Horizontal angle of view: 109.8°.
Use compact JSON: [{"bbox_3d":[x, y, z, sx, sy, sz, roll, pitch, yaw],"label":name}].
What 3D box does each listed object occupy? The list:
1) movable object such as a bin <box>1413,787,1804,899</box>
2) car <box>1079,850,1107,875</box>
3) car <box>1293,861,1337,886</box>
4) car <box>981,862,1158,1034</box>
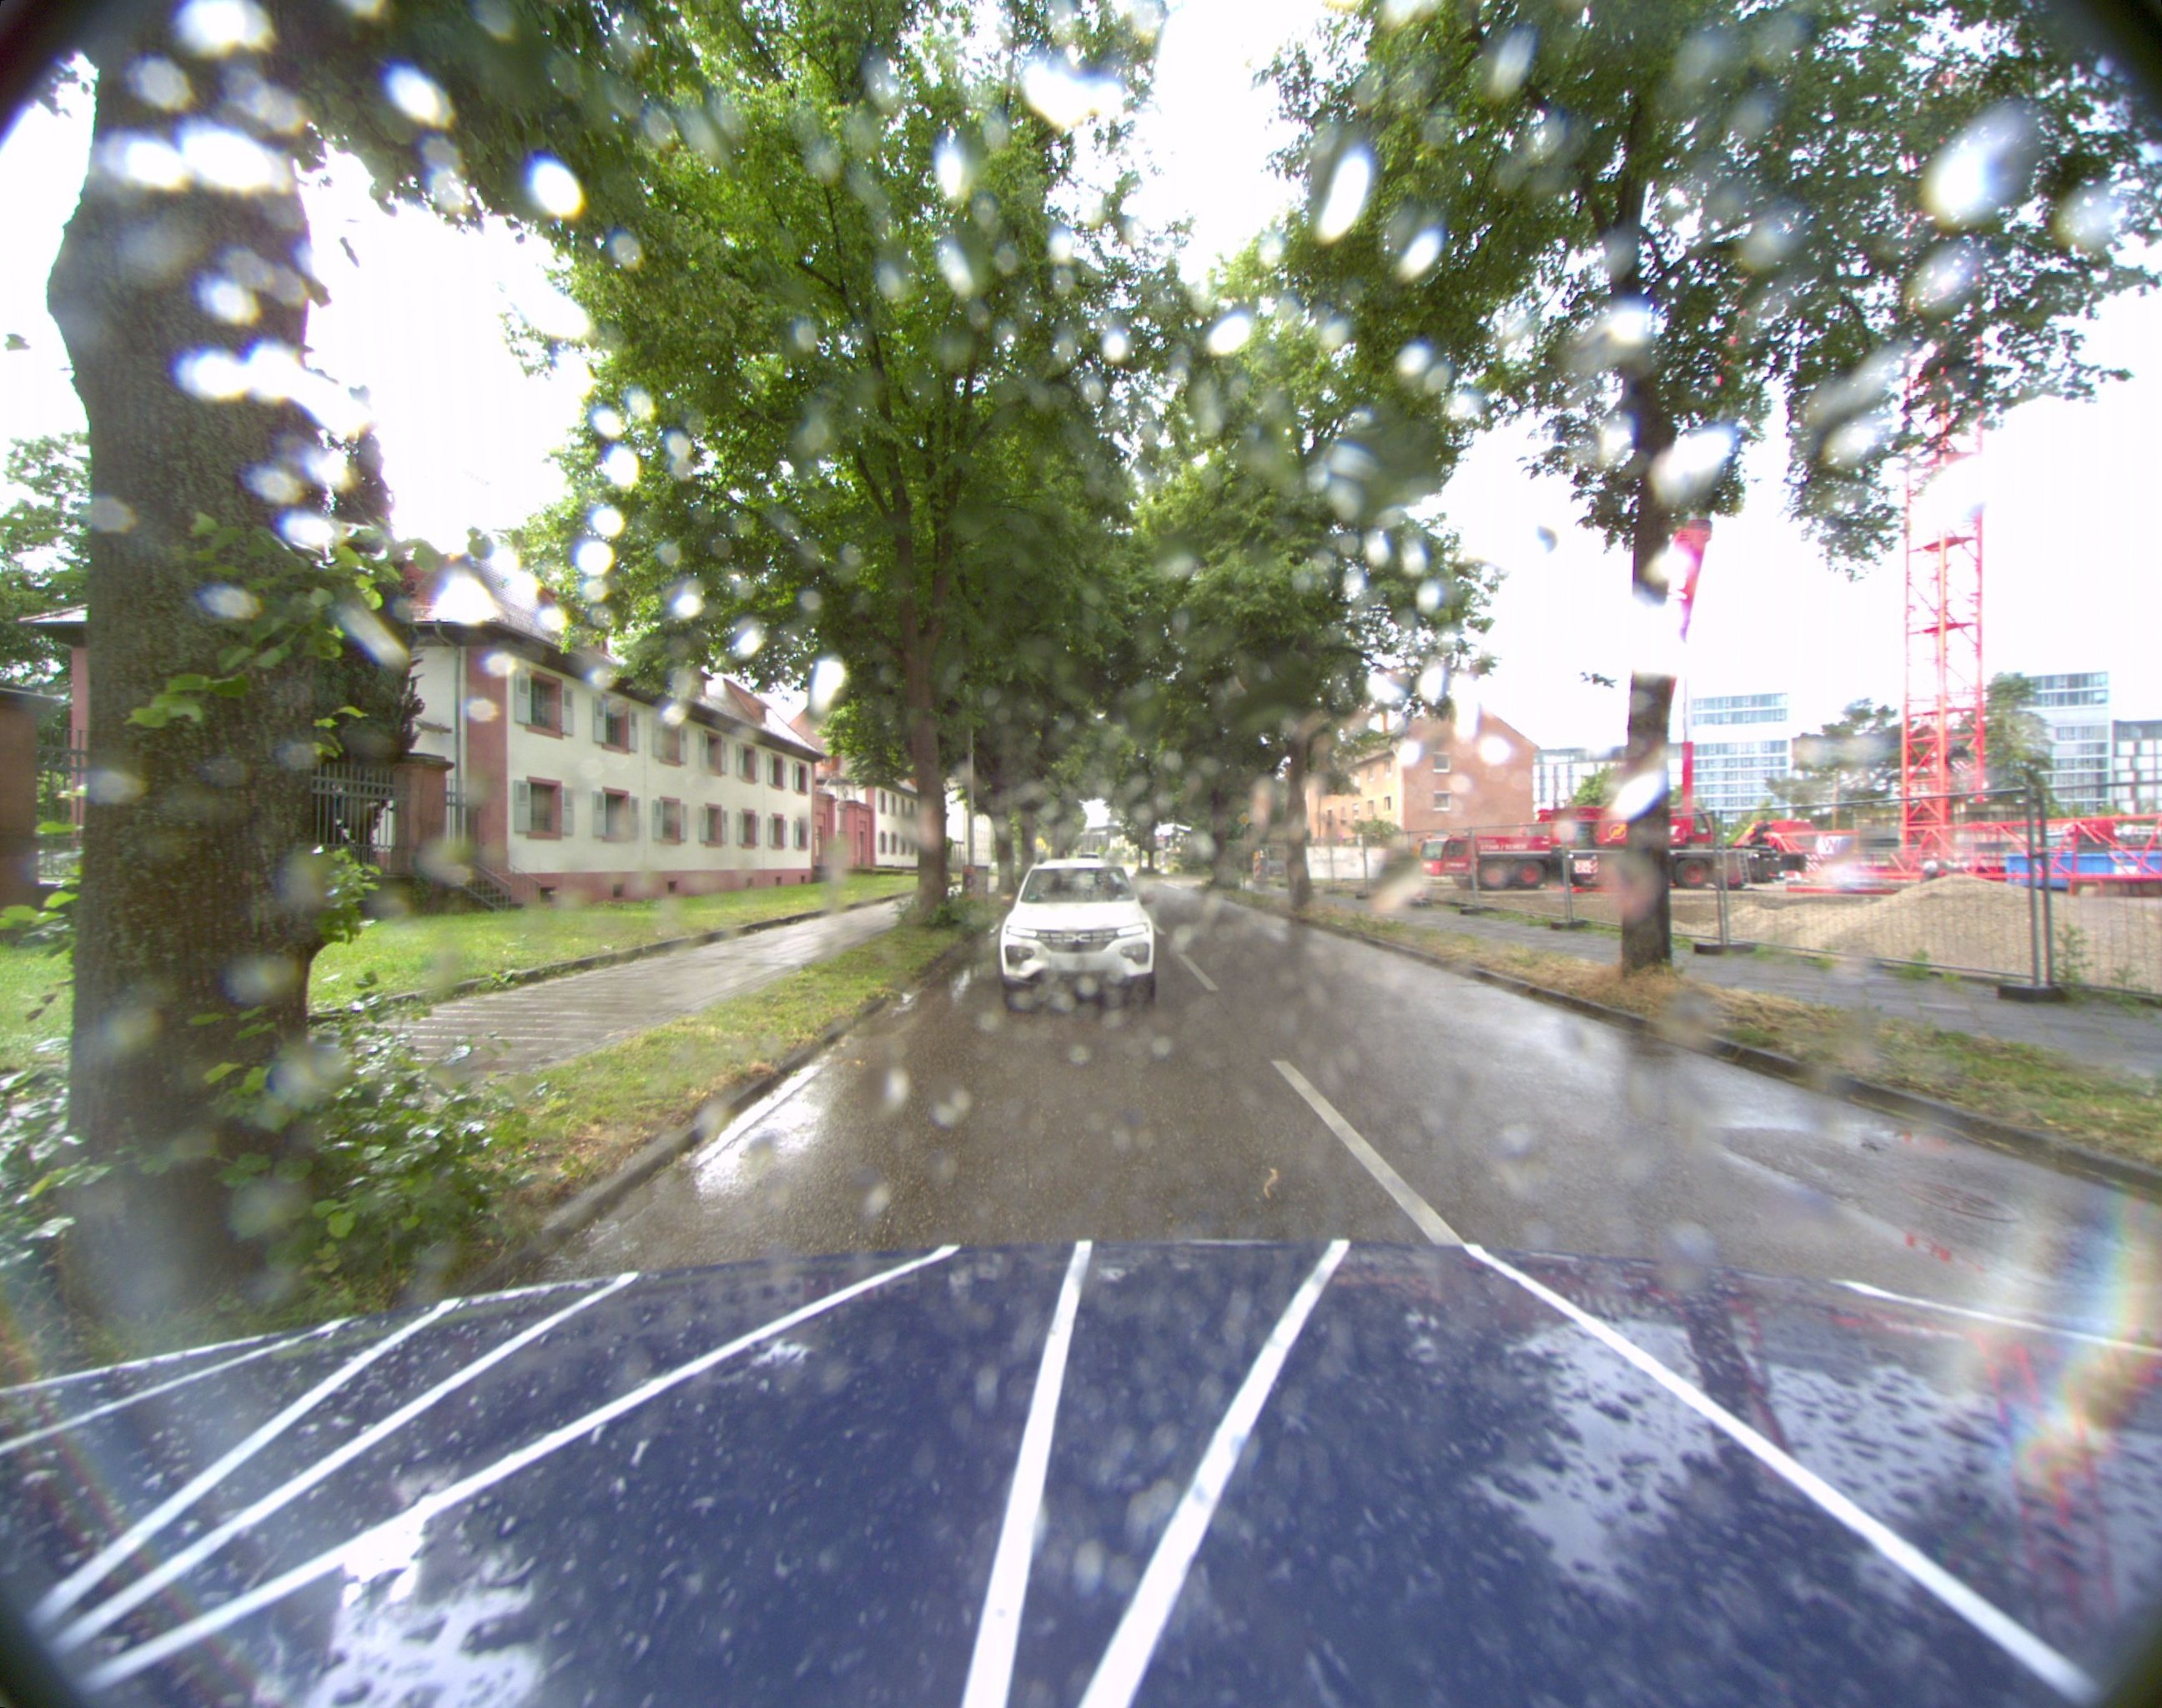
[{"bbox_3d":[24.669,-0.478,36.272,15.941,4.532,3.102,-2,1,4],"label":"movable object such as a bin"},{"bbox_3d":[0.967,0.695,64.885,2.107,1.990,5.433,-2,1,-1],"label":"car"},{"bbox_3d":[16.288,1.330,53.053,1.693,1.521,3.999,-2,1,-1],"label":"car"},{"bbox_3d":[-0.078,0.895,9.065,1.608,1.499,4.000,-2,0,1],"label":"car"}]
